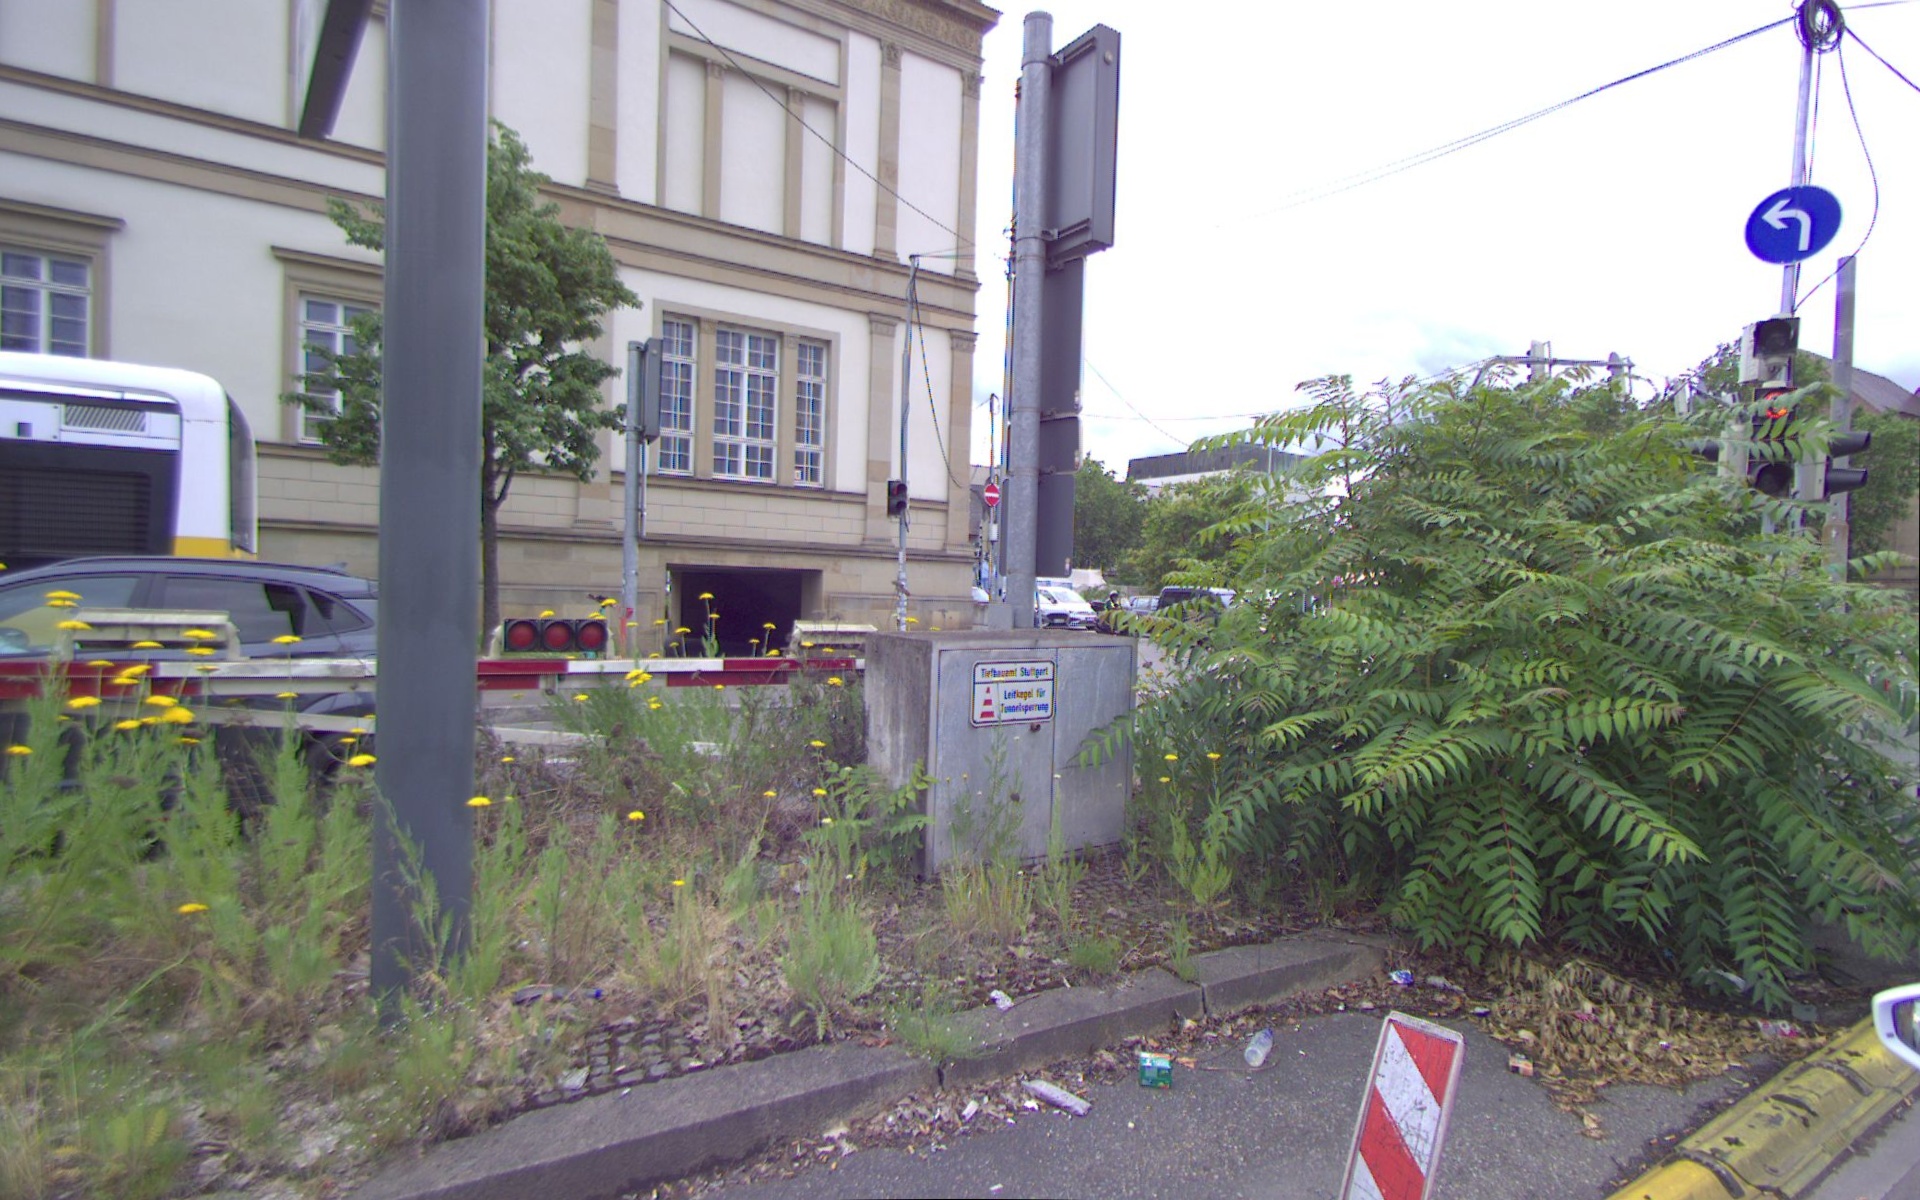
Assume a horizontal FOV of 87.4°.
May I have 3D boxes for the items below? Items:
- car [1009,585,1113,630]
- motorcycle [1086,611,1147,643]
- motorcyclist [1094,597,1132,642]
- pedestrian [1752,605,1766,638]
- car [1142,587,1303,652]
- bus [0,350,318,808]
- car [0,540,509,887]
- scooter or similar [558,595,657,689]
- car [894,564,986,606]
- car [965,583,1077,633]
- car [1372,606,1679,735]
[{"bbox_3d":[4.102,0.290,41.305,1.979,1.698,4.285,1,1,-34],"label":"car"},{"bbox_3d":[5.072,0.851,32.659,0.749,0.937,2.042,1,1,-35],"label":"motorcycle"},{"bbox_3d":[4.991,0.627,32.773,0.738,1.442,0.959,1,1,-35],"label":"motorcyclist"},{"bbox_3d":[49.769,1.357,62.581,0.516,2.040,0.428,2,1,17],"label":"pedestrian"},{"bbox_3d":[7.546,0.511,29.284,1.979,1.698,4.285,1,1,-34],"label":"car"},{"bbox_3d":[-9.683,-0.217,6.662,9.020,3.156,2.830,1,1,-32],"label":"bus"},{"bbox_3d":[-4.684,0.519,5.515,3.840,1.611,1.687,1,0,-32],"label":"car"},{"bbox_3d":[-4.944,0.590,14.141,1.132,1.190,0.540,6,0,-10],"label":"scooter or similar"},{"bbox_3d":[-0.939,-0.683,43.691,1.979,1.698,4.285,1,1,-34],"label":"car"},{"bbox_3d":[2.218,0.267,37.564,1.979,1.698,4.285,1,1,-34],"label":"car"},{"bbox_3d":[7.868,0.892,13.837,4.579,1.491,1.691,2,0,-32],"label":"car"}]
